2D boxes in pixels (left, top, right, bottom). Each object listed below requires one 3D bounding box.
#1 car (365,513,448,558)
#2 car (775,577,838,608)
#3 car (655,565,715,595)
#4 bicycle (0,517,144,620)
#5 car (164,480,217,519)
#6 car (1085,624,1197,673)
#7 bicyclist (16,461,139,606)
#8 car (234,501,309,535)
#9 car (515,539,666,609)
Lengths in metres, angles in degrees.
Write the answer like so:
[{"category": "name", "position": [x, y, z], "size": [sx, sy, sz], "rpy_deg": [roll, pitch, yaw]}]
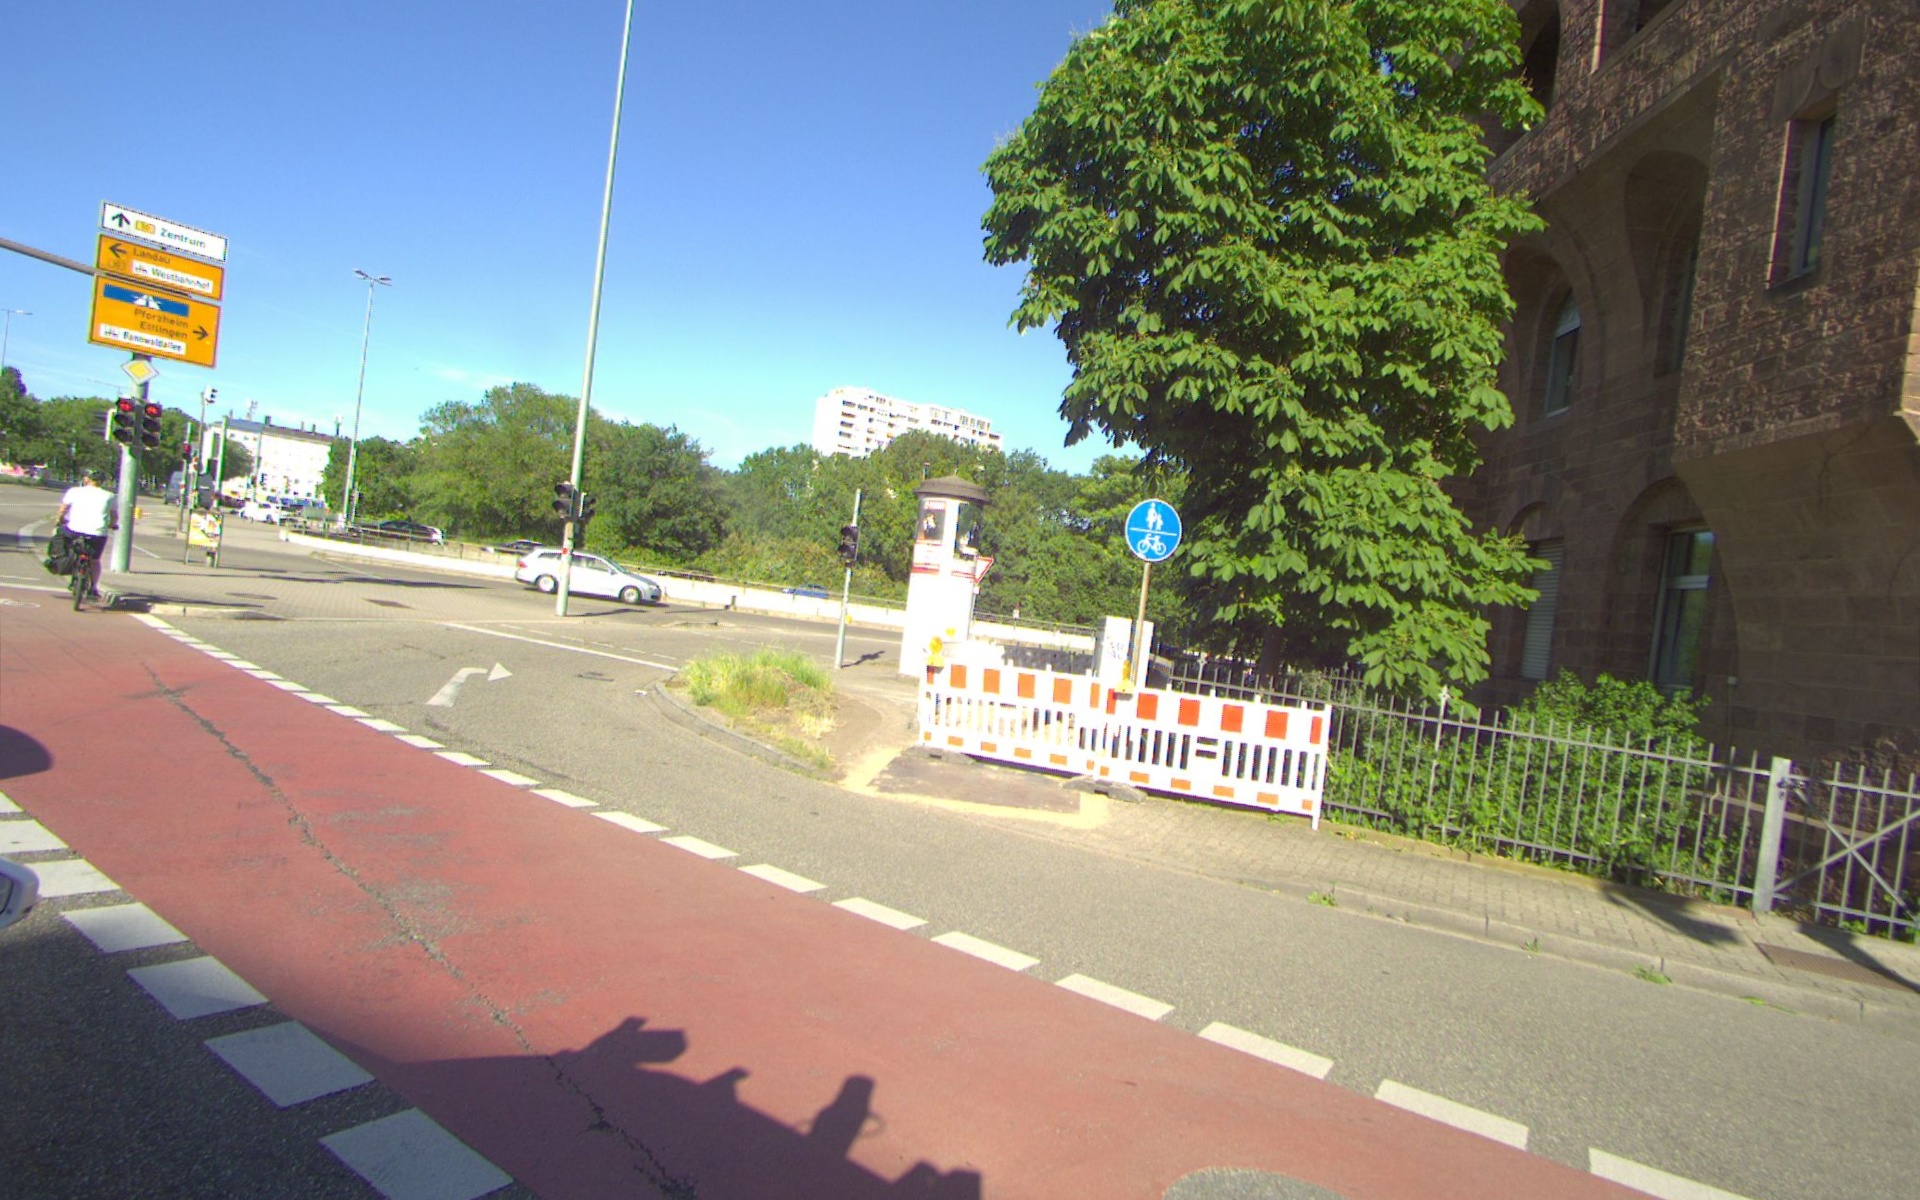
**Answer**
[{"category": "car", "position": [-33.561, -3.889, 61.089], "size": [3.943, 2.037, 1.992], "rpy_deg": [7, -2, -20]}, {"category": "car", "position": [-11.707, -0.560, 76.786], "size": [4.204, 1.876, 2.010], "rpy_deg": [7, -2, -24]}, {"category": "car", "position": [-20.063, -1.408, 73.367], "size": [3.946, 1.681, 1.991], "rpy_deg": [7, -2, -22]}, {"category": "bicycle", "position": [-11.629, -0.438, 13.176], "size": [0.792, 1.124, 2.386], "rpy_deg": [8, 0, -25]}, {"category": "car", "position": [-59.769, -7.755, 78.135], "size": [4.821, 2.638, 2.251], "rpy_deg": [4, -2, 42]}, {"category": "car", "position": [7.400, 1.983, 41.266], "size": [3.940, 1.472, 1.991], "rpy_deg": [7, 1, -18]}, {"category": "bicyclist", "position": [-11.632, -0.868, 13.307], "size": [0.792, 1.726, 1.078], "rpy_deg": [8, 1, -25]}, {"category": "car", "position": [-48.495, -5.780, 70.908], "size": [3.923, 1.770, 2.002], "rpy_deg": [6, -2, 10]}, {"category": "car", "position": [-11.796, -0.830, 32.398], "size": [4.284, 1.512, 1.750], "rpy_deg": [9, 1, -15]}]
